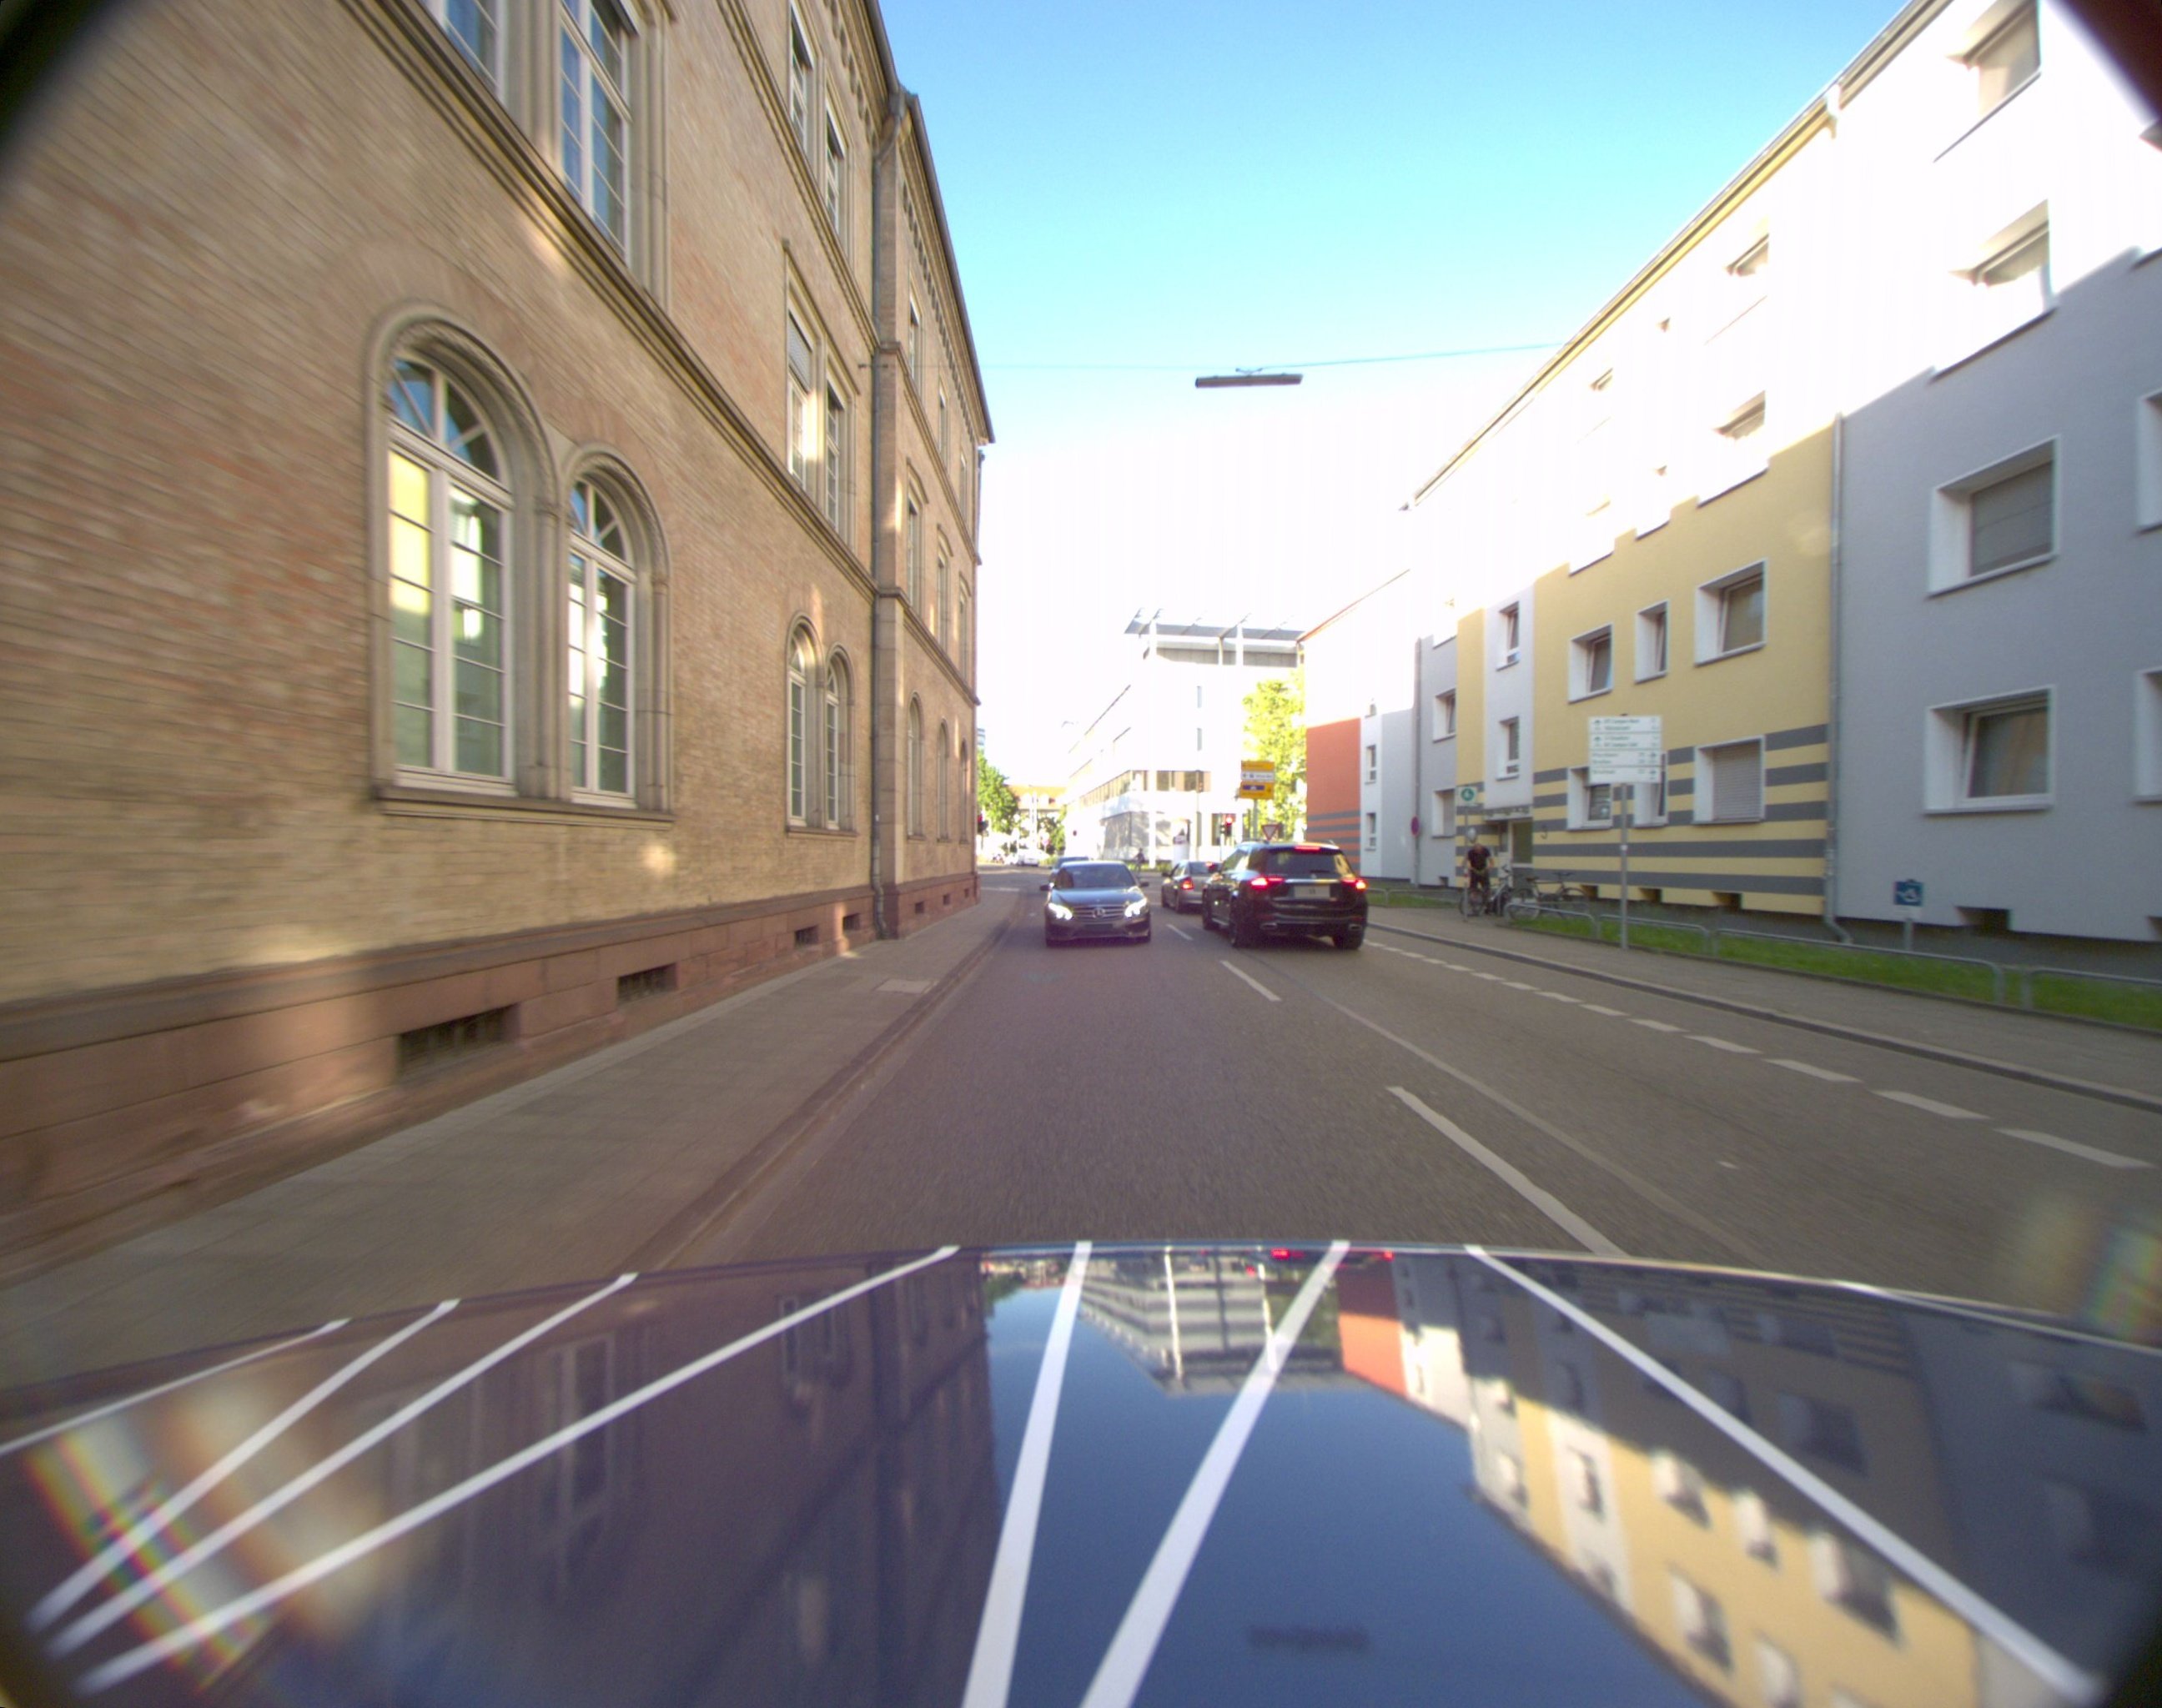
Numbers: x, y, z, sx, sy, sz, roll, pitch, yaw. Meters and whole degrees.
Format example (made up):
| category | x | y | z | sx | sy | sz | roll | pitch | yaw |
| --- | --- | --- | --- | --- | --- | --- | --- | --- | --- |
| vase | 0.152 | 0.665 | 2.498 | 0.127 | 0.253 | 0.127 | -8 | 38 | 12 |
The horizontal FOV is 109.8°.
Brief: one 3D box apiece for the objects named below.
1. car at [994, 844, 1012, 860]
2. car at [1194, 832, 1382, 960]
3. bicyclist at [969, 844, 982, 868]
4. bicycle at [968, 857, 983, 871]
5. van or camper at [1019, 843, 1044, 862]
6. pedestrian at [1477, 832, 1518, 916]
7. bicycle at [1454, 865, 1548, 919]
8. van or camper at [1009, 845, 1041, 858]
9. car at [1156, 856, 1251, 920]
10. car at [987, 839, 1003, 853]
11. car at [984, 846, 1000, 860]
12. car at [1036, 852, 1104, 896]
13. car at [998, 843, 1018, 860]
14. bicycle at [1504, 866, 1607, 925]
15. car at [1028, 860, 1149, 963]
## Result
| category | x | y | z | sx | sy | sz | roll | pitch | yaw |
| --- | --- | --- | --- | --- | --- | --- | --- | --- | --- |
| car | -10.230 | -0.248 | 99.345 | 2.000 | 2.002 | 3.996 | -1 | 0 | -11 |
| car | 3.382 | 0.591 | 13.595 | 1.905 | 1.824 | 5.094 | 1 | 1 | 0 |
| bicyclist | -8.380 | 0.154 | 60.314 | 0.978 | 1.797 | 1.130 | -1 | 1 | -11 |
| bicycle | -8.421 | 0.784 | 60.486 | 0.943 | 1.032 | 3.003 | -1 | 0 | -11 |
| van or camper | -5.592 | -0.165 | 85.030 | 2.163 | 2.002 | 4.971 | 0 | 1 | -10 |
| pedestrian | 9.386 | 0.429 | 17.161 | 0.720 | 1.844 | 0.871 | 0 | 1 | 22 |
| bicycle | 9.280 | 0.817 | 16.811 | 1.757 | 1.139 | 0.650 | 0 | 1 | -7 |
| van or camper | -8.962 | -0.361 | 122.130 | 4.736 | 2.075 | 1.996 | -1 | 1 | -21 |
| car | 3.166 | 0.827 | 20.411 | 1.745 | 1.477 | 4.135 | 1 | 0 | -1 |
| car | -12.595 | -1.147 | 110.979 | 2.000 | 2.002 | 3.996 | -1 | 0 | -11 |
| car | -13.547 | -0.206 | 115.355 | 2.000 | 2.001 | 3.997 | -1 | -1 | -11 |
| car | -0.356 | 0.752 | 30.245 | 1.745 | 1.594 | 4.004 | 0 | 1 | 14 |
| car | -9.108 | -0.330 | 94.787 | 2.000 | 2.002 | 3.996 | -1 | 0 | -11 |
| bicycle | 9.620 | 0.820 | 15.435 | 1.757 | 1.139 | 0.650 | 0 | 1 | -7 |
| car | 0.268 | 0.911 | 14.108 | 1.798 | 1.460 | 4.720 | -3 | 0 | 4 |
